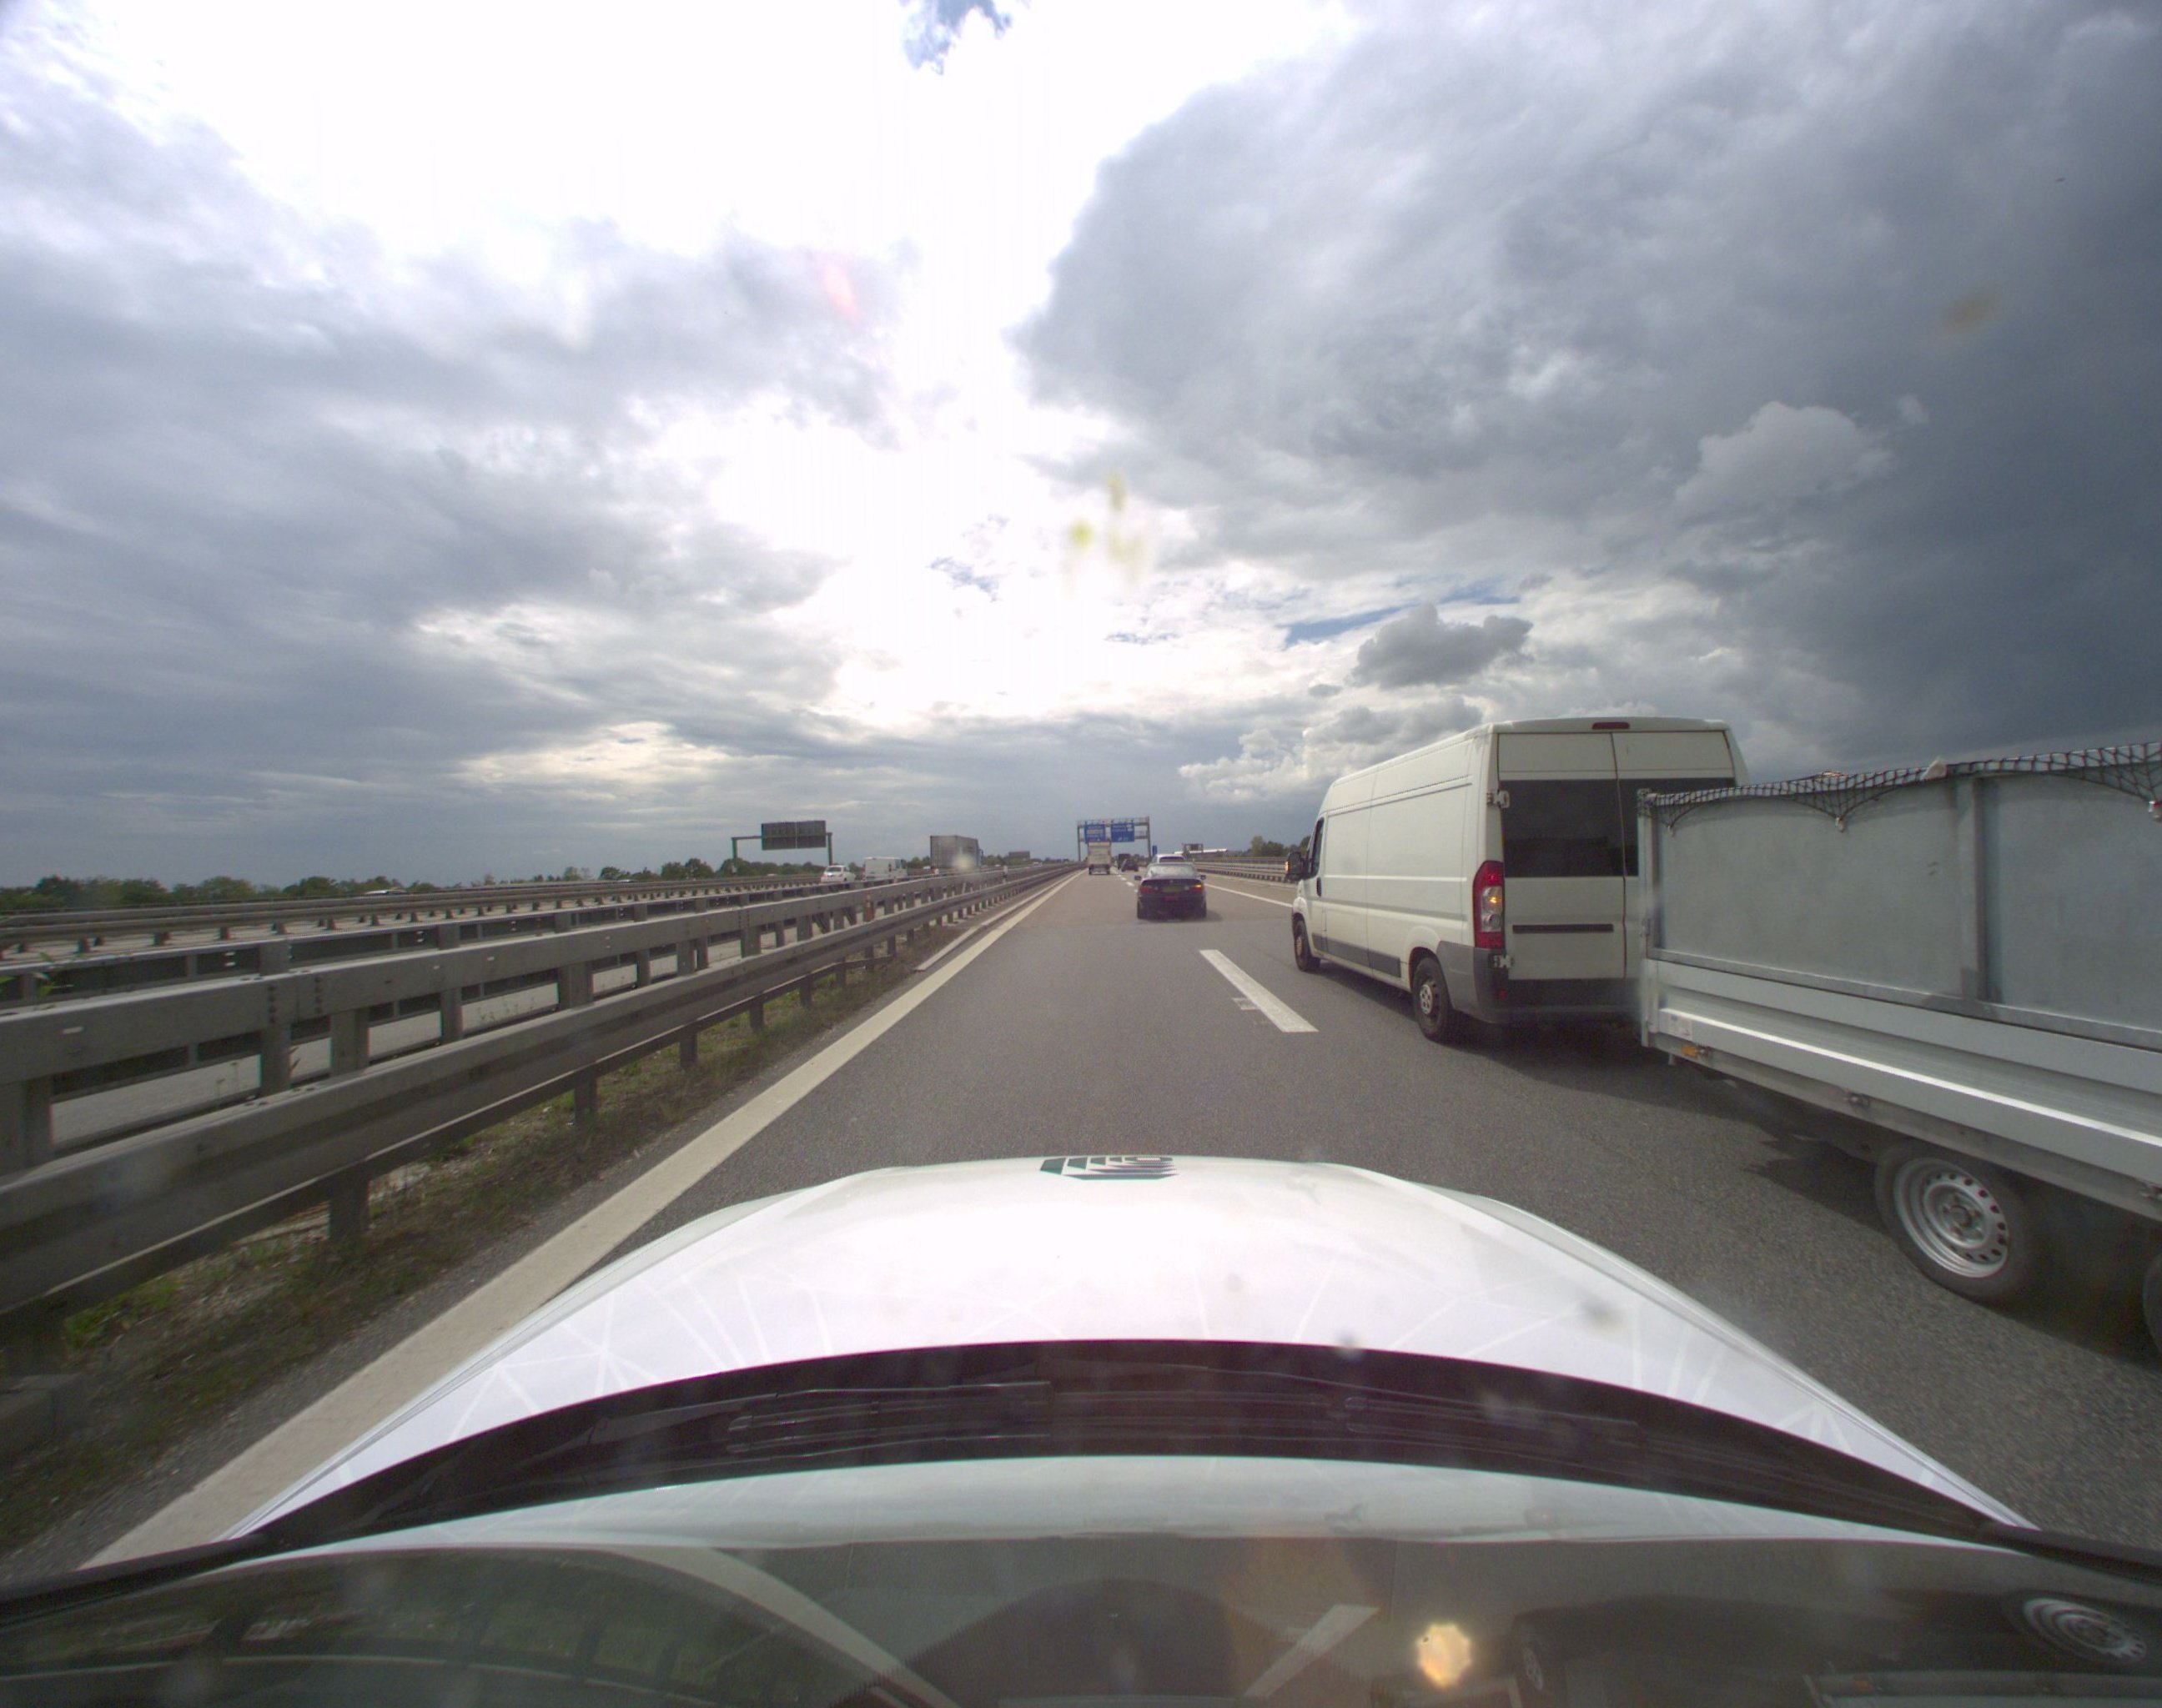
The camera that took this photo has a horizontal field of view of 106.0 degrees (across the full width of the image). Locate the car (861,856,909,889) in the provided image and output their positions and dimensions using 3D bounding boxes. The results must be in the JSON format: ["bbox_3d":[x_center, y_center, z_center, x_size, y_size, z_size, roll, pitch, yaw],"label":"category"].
[{"bbox_3d":[-12.714,1.185,53.047,1.986,2.013,4.375,-1,0,1],"label":"car"}]

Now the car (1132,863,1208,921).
[{"bbox_3d":[2.269,0.893,20.801,1.695,1.281,4.373,-1,0,6],"label":"car"}]

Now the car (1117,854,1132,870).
[{"bbox_3d":[6.285,1.103,118.532,1.900,2.262,4.649,-1,0,1],"label":"car"}]

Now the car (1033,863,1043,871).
[{"bbox_3d":[-9.354,2.802,176.712,1.821,1.563,4.002,-1,0,2],"label":"car"}]

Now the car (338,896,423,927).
[{"bbox_3d":[-43.906,3.573,51.170,1.723,1.629,4.002,-2,-1,2],"label":"car"}]

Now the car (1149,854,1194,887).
[{"bbox_3d":[4.474,0.793,40.771,1.814,1.514,3.999,-1,0,0],"label":"car"}]

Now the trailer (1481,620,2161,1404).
[{"bbox_3d":[3.703,0.399,3.350,1.848,2.013,4.631,-1,0,0],"label":"trailer"}]

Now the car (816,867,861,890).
[{"bbox_3d":[-16.849,1.675,56.774,1.790,1.420,4.003,-1,0,3],"label":"car"}]

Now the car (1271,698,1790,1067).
[{"bbox_3d":[3.749,0.200,8.568,2.106,2.454,6.152,-1,0,1],"label":"car"}]

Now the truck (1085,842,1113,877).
[{"bbox_3d":[1.722,0.592,78.252,2.560,3.126,8.635,-1,-2,1],"label":"truck"}]

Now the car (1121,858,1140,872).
[{"bbox_3d":[5.448,1.207,90.294,1.878,1.552,4.001,-1,0,1],"label":"car"}]

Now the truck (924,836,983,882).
[{"bbox_3d":[-12.386,0.485,80.993,3.173,4.019,16.072,-1,0,0],"label":"truck"}]
